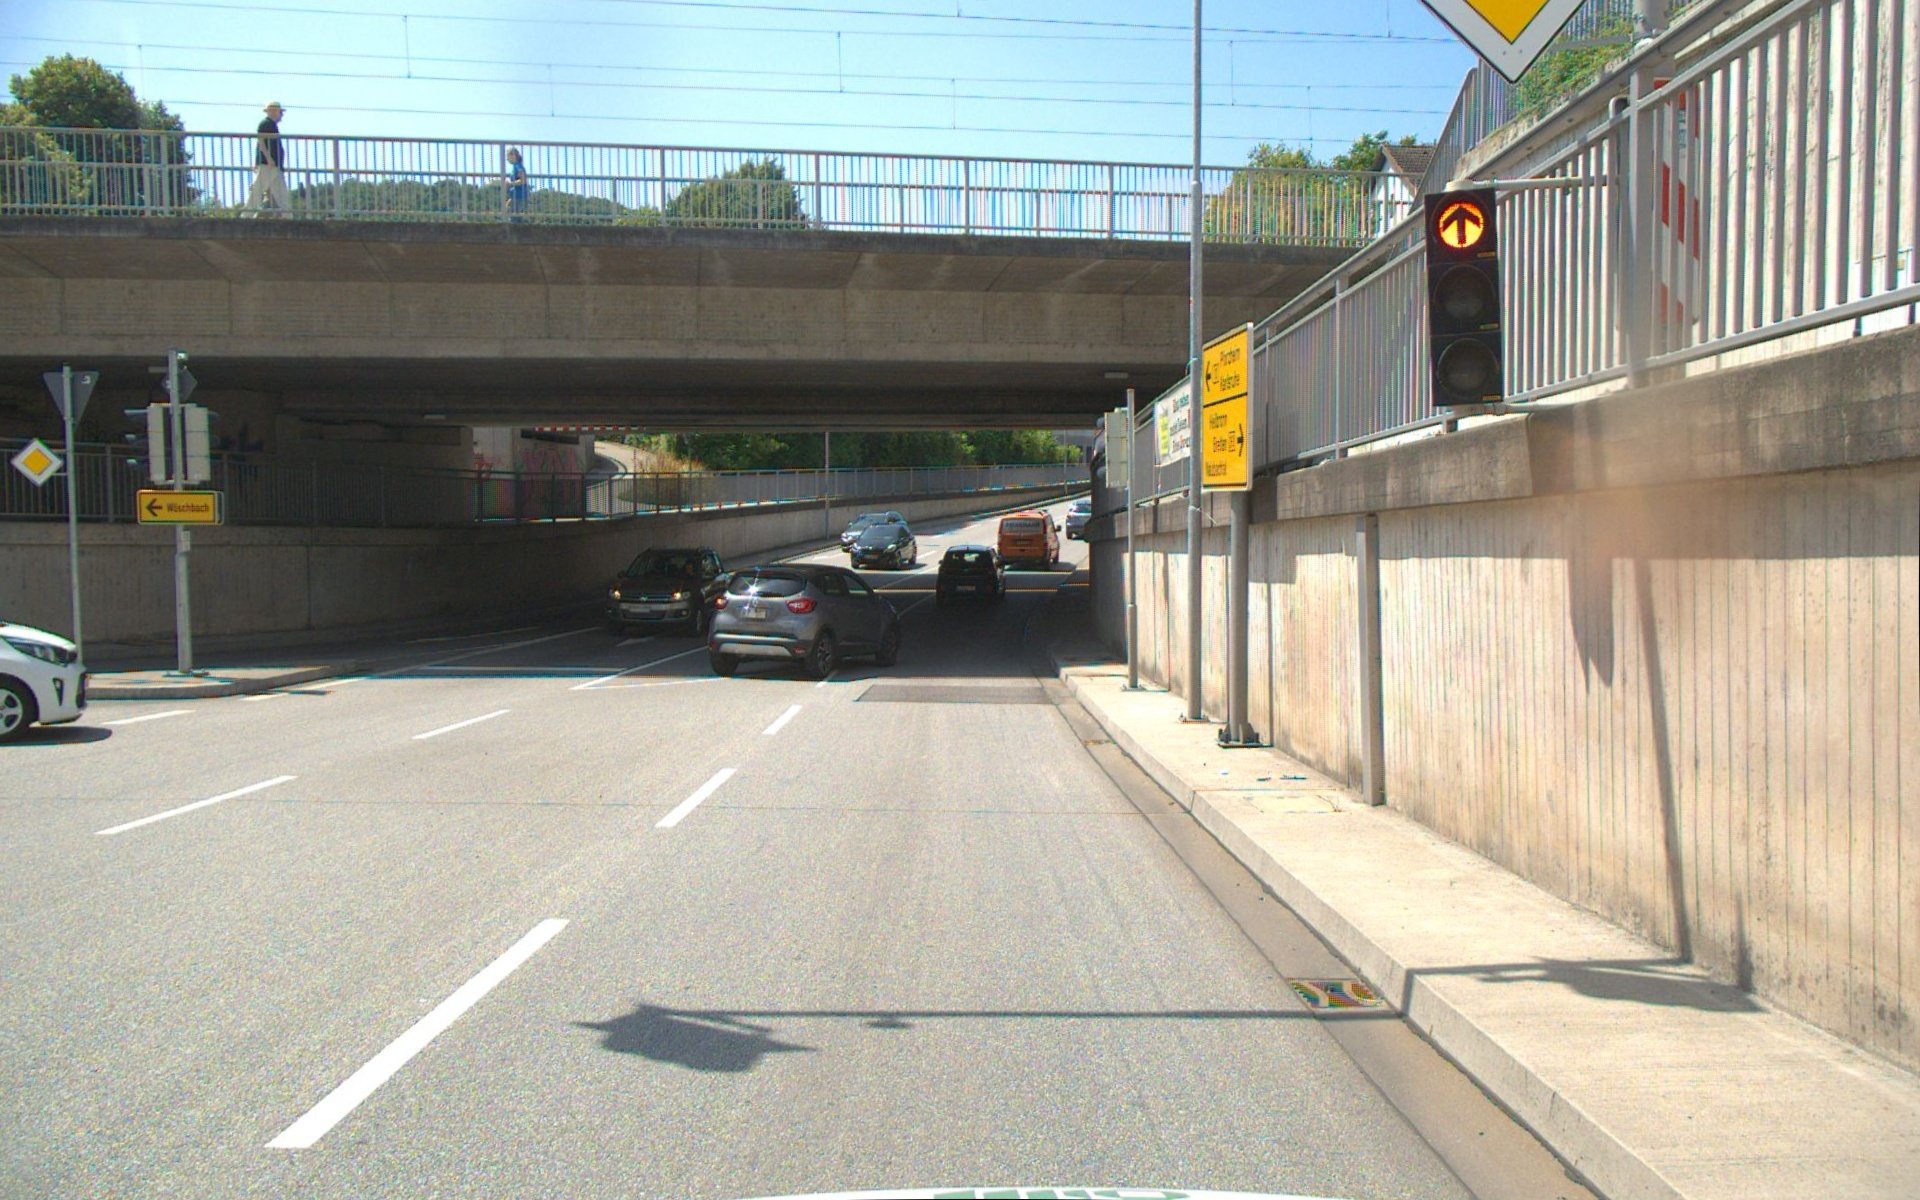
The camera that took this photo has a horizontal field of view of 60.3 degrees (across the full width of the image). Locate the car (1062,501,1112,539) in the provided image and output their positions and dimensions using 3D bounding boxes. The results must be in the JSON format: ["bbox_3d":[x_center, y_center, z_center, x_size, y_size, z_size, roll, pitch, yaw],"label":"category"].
[{"bbox_3d":[5.685,-3.557,73.761,1.765,1.646,4.005,1,2,10],"label":"car"}]

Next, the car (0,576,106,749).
[{"bbox_3d":[-9.851,0.561,14.636,3.935,1.444,1.718,-1,3,-24],"label":"car"}]

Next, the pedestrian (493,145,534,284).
[{"bbox_3d":[-7.236,-6.242,26.829,0.529,2.117,0.534,-1,0,-8],"label":"pedestrian"}]

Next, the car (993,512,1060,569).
[{"bbox_3d":[2.429,-2.161,59.190,1.833,1.965,4.724,1,3,9],"label":"car"}]

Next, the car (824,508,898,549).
[{"bbox_3d":[-4.003,-2.899,67.199,1.951,1.616,4.004,1,3,13],"label":"car"}]

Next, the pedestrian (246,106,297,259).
[{"bbox_3d":[-10.177,-6.161,24.464,0.565,2.117,0.534,-1,0,-11],"label":"pedestrian"}]

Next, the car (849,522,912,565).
[{"bbox_3d":[-2.773,-2.014,58.542,1.744,1.461,4.003,0,3,5],"label":"car"}]

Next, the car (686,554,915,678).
[{"bbox_3d":[-2.282,0.163,24.829,1.952,1.616,4.002,1,3,19],"label":"car"}]

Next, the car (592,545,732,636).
[{"bbox_3d":[-5.884,-0.246,33.094,1.952,1.655,4.002,0,3,2],"label":"car"}]

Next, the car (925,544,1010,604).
[{"bbox_3d":[0.240,-0.742,44.481,1.951,1.534,4.003,0,2,5],"label":"car"}]
